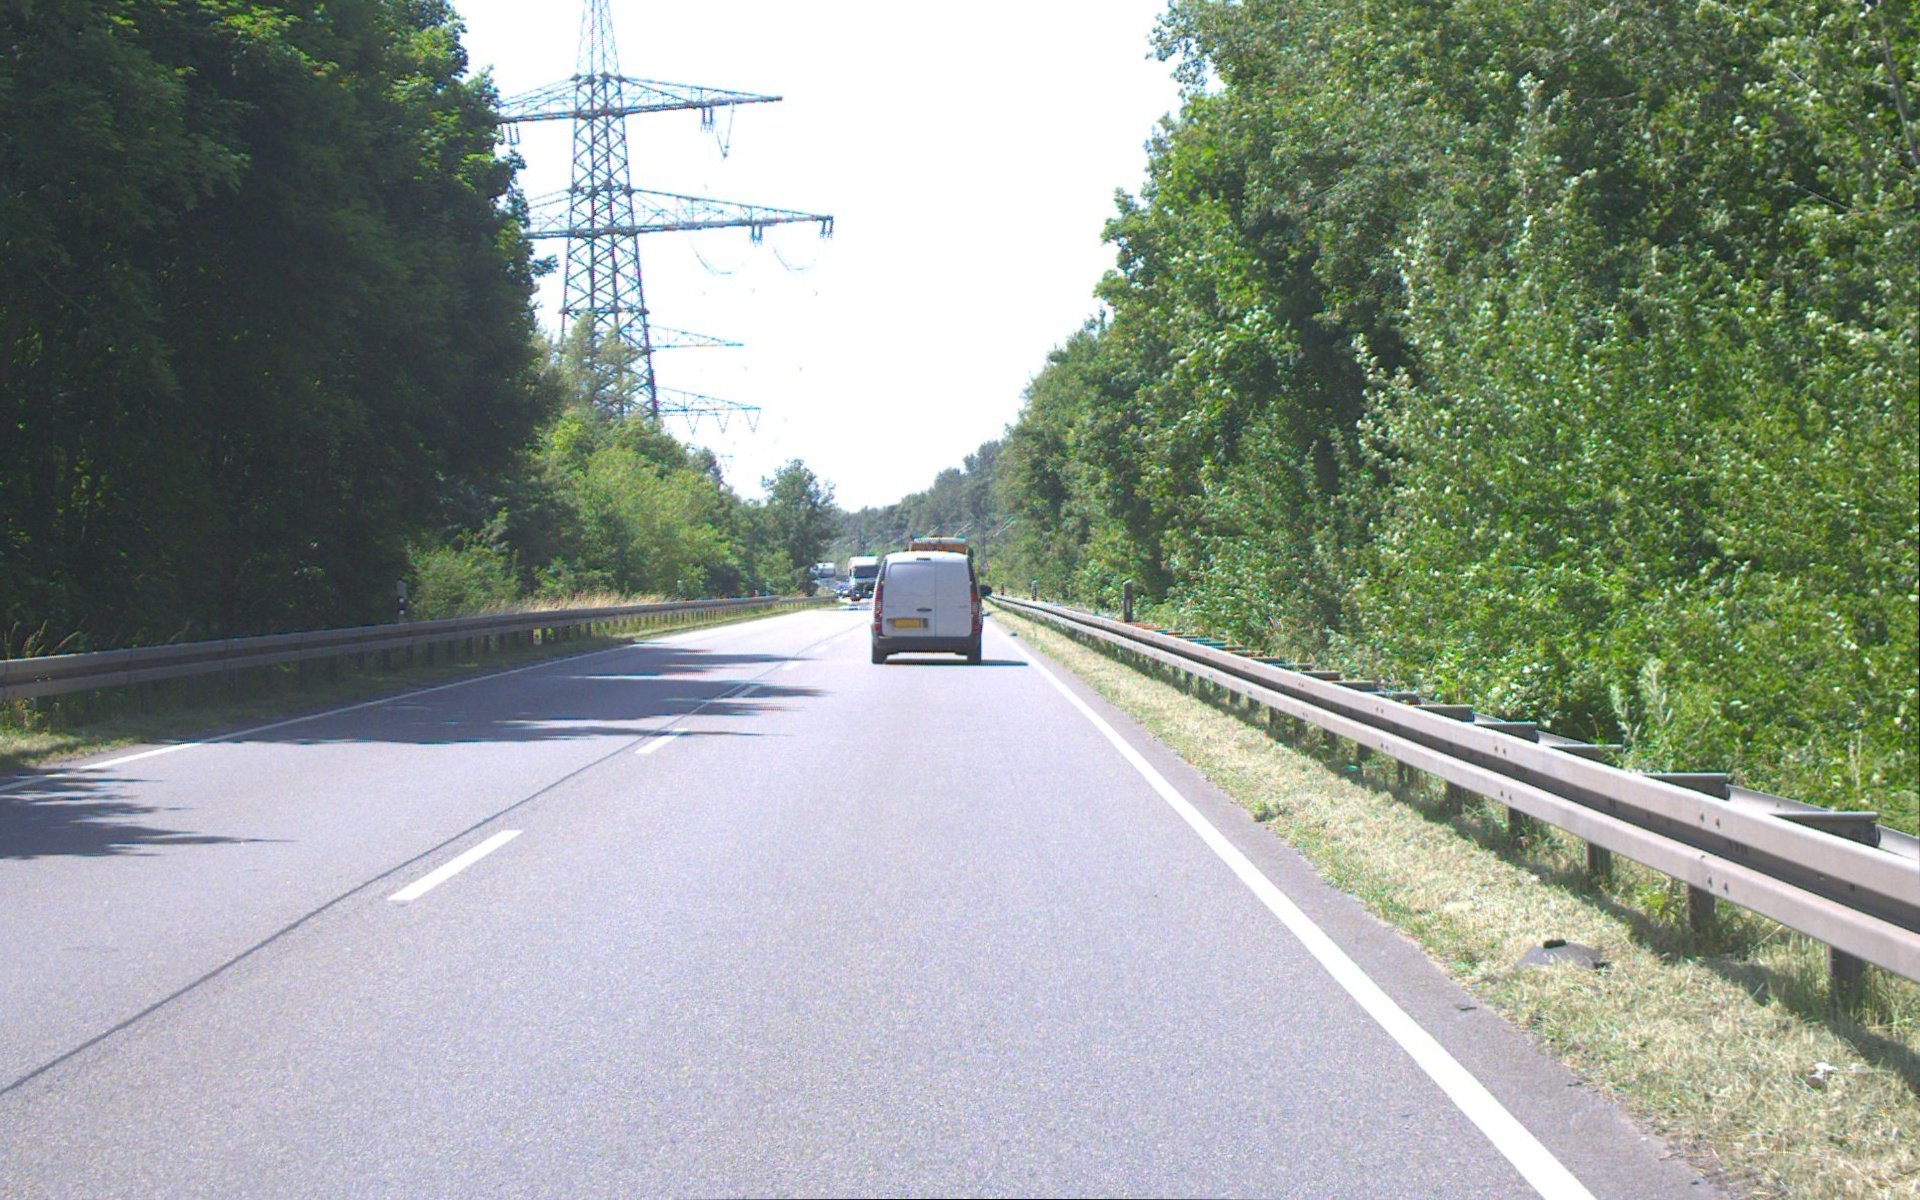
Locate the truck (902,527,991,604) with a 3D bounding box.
[{"bbox_3d":[-0.683,-1.587,150.007,3.296,3.161,14.406,0,1,-2],"label":"truck"}]

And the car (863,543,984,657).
[{"bbox_3d":[-0.587,-0.026,55.479,1.875,1.735,4.000,1,1,-1],"label":"car"}]
